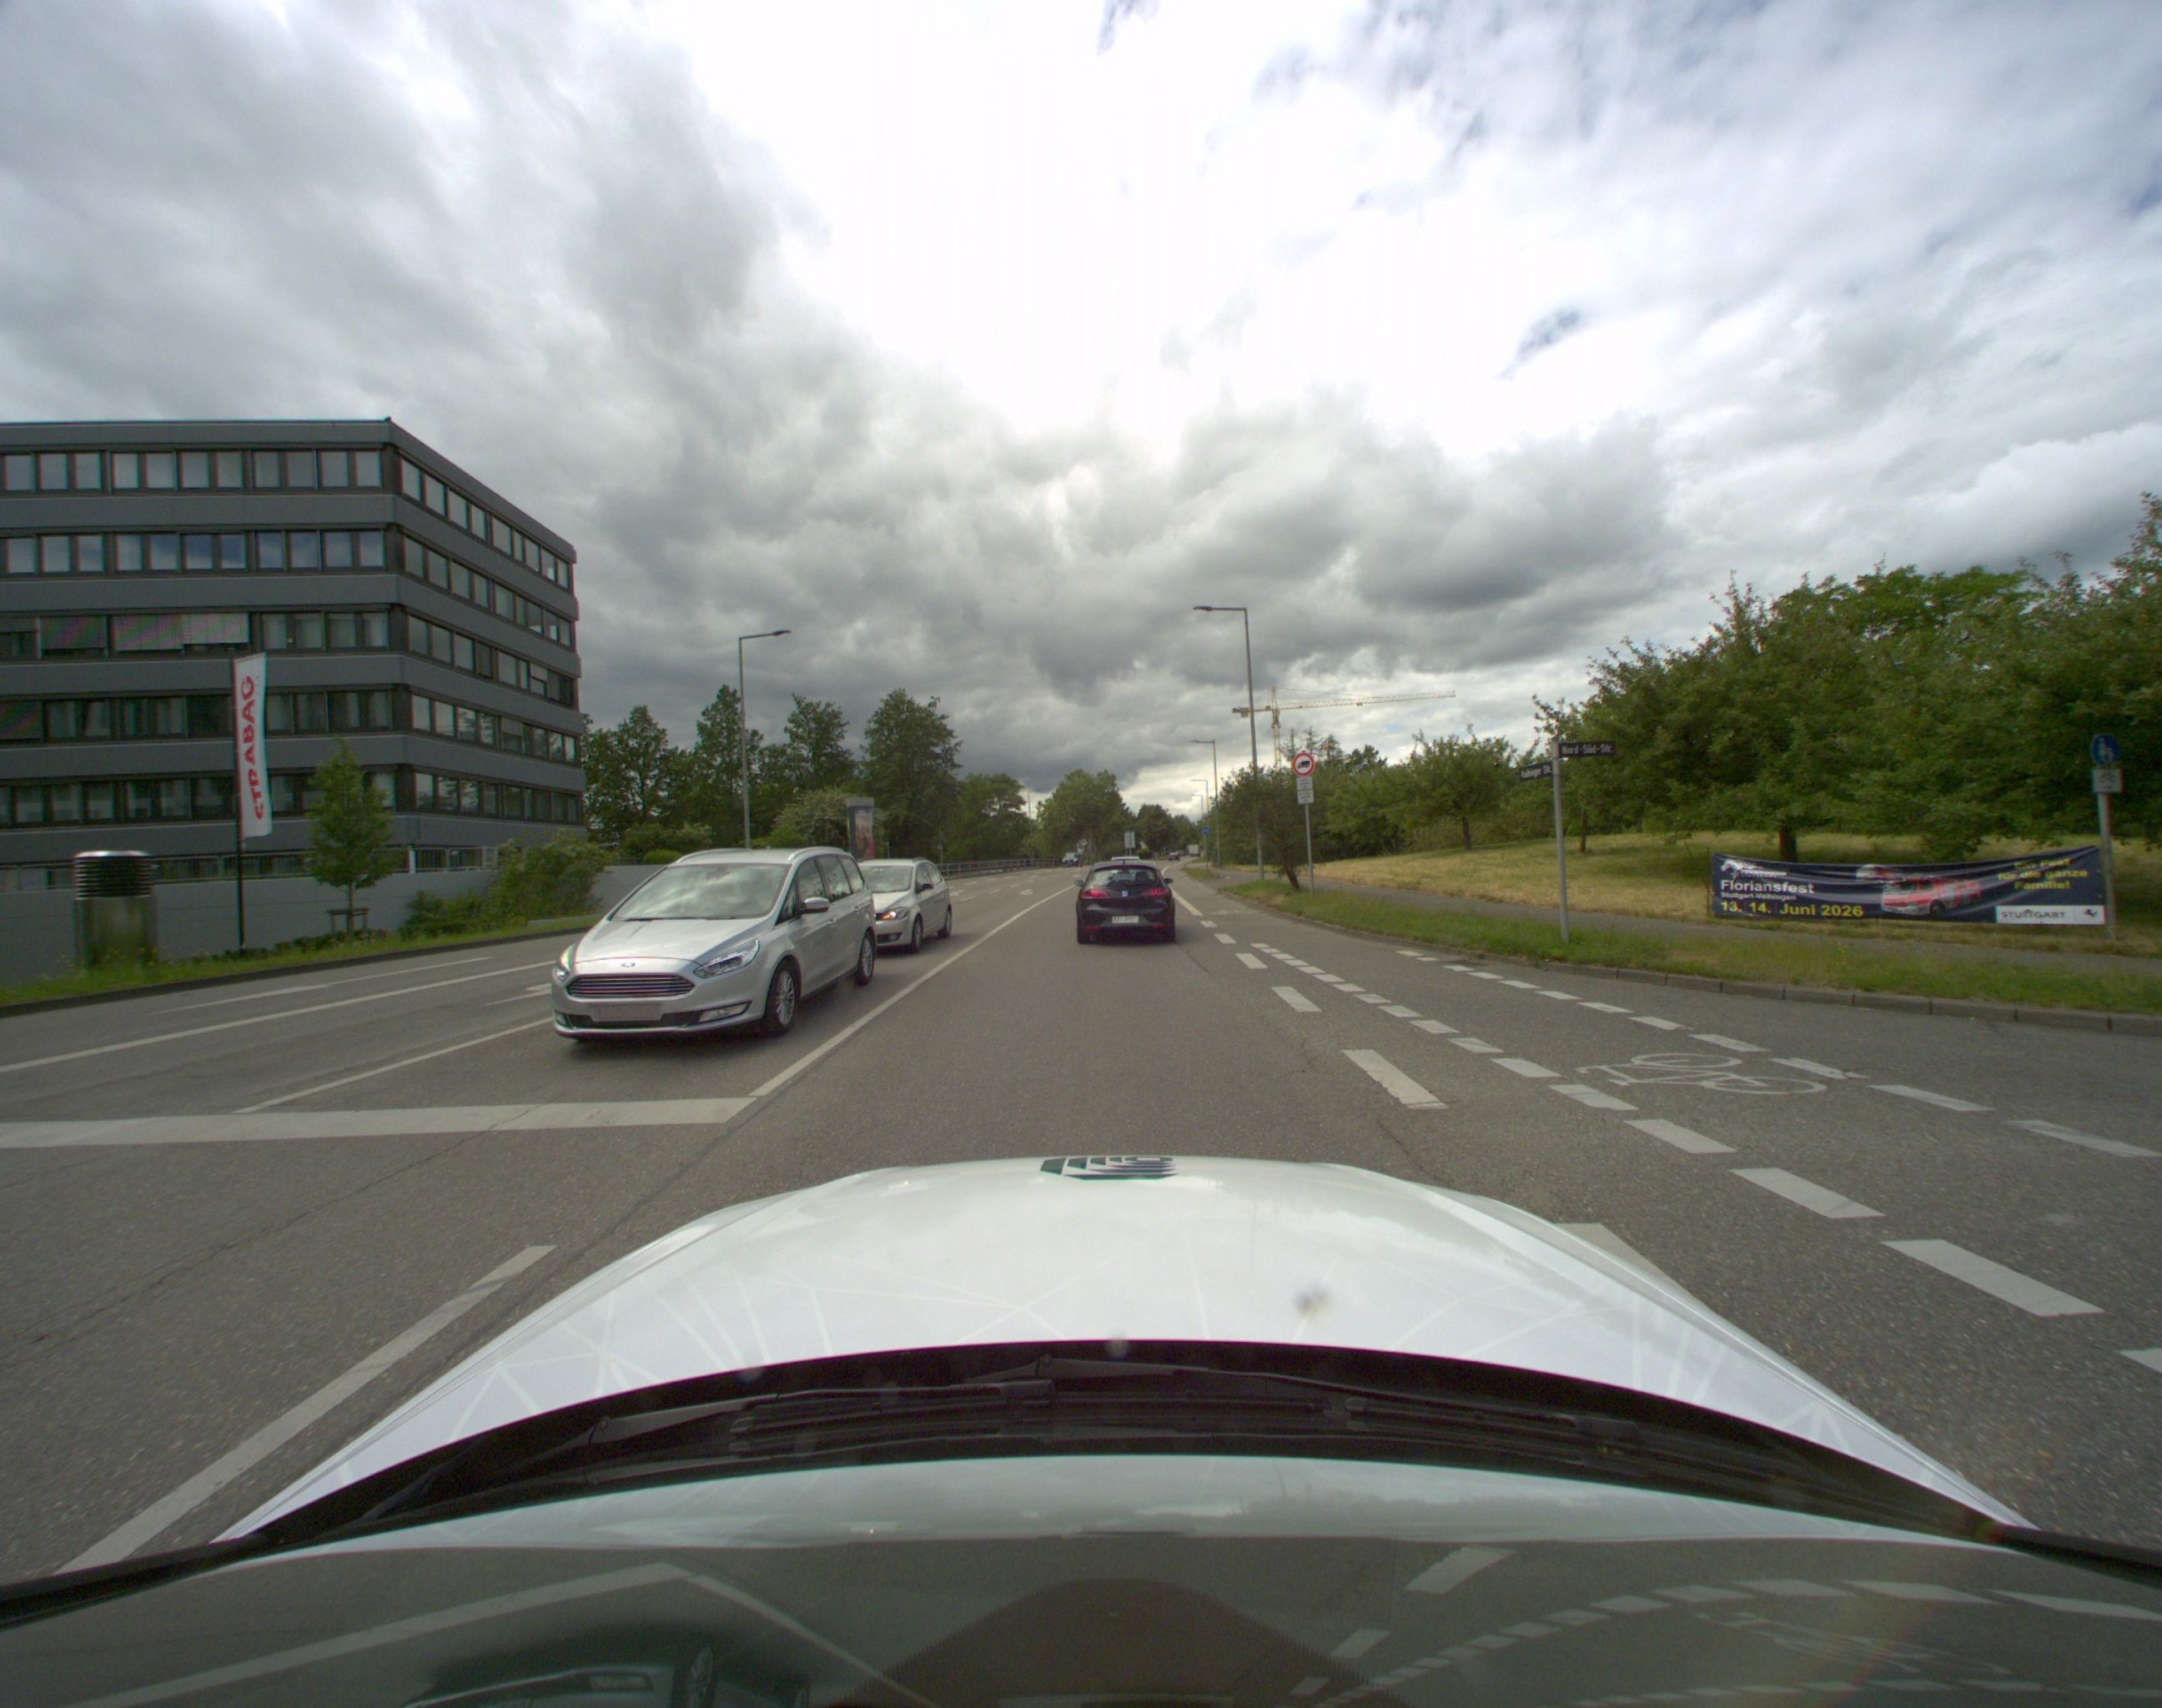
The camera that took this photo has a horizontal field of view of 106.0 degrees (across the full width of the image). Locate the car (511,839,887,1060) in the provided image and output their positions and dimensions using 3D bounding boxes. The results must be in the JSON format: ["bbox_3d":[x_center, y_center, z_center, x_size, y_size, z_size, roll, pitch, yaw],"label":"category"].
[{"bbox_3d":[-3.517,0.734,8.654,1.815,1.686,4.643,-1,0,-1],"label":"car"}]

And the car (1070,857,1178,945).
[{"bbox_3d":[0.696,0.788,15.298,1.707,1.417,3.456,-1,0,-2],"label":"car"}]

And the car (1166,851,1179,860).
[{"bbox_3d":[15.698,0.251,139.481,1.982,1.565,4.481,-2,0,8],"label":"car"}]

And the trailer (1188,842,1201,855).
[{"bbox_3d":[28.479,-1.270,204.001,2.473,3.073,5.607,-1,-1,14],"label":"trailer"}]

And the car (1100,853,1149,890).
[{"bbox_3d":[1.838,0.745,35.137,1.829,1.467,3.749,-1,-1,-1],"label":"car"}]

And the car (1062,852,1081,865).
[{"bbox_3d":[-1.126,0.636,102.548,1.704,1.581,3.752,-1,-1,10],"label":"car"}]

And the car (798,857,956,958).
[{"bbox_3d":[-3.468,0.833,14.625,1.654,1.518,4.086,-1,0,2],"label":"car"}]
